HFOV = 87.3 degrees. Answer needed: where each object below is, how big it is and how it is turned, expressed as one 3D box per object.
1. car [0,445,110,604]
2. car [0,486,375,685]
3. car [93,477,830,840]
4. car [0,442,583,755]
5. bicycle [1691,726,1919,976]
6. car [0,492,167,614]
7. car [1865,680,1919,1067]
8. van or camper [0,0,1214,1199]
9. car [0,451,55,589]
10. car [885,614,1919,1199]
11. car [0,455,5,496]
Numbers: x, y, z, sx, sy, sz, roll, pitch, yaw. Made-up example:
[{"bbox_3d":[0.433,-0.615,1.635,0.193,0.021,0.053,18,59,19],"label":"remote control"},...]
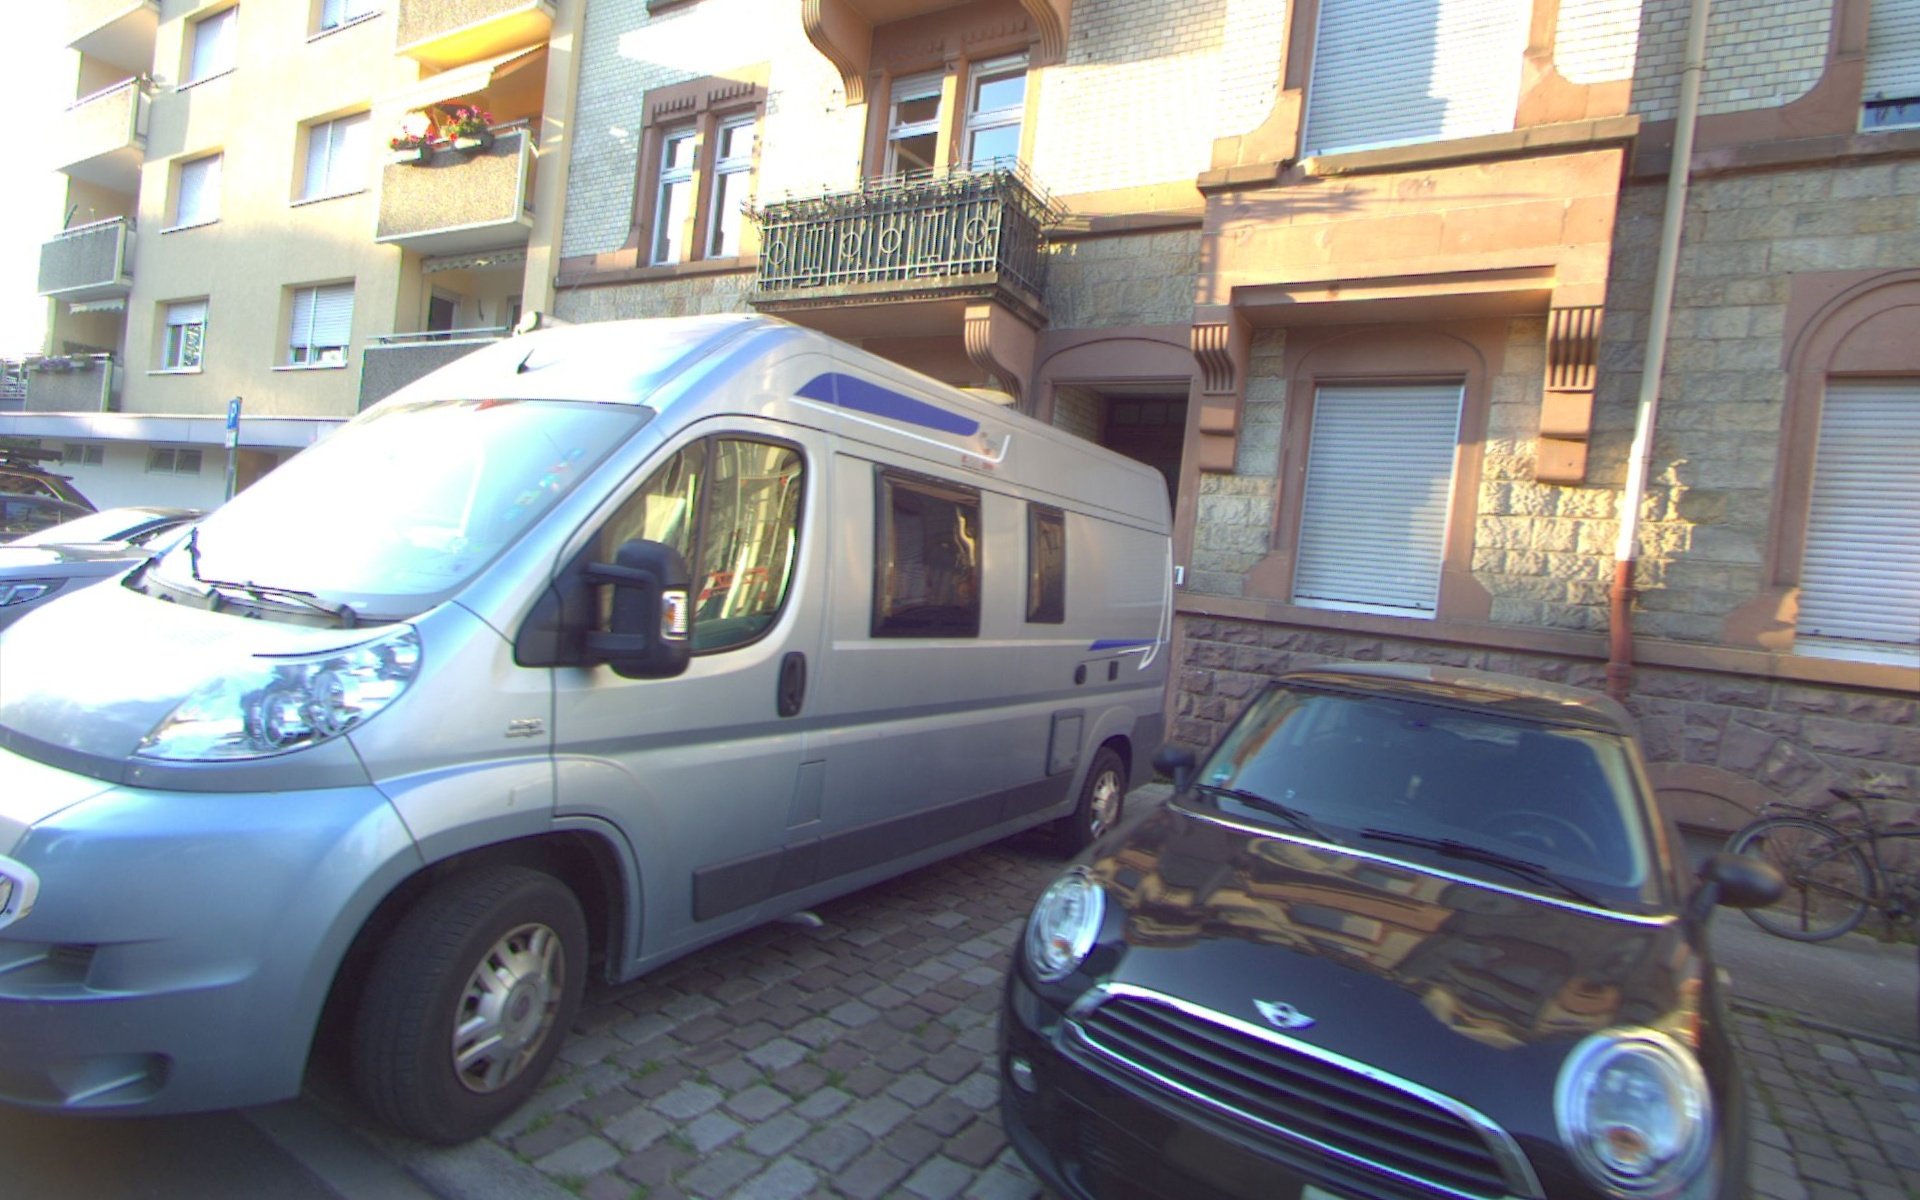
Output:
[{"bbox_3d":[-15.121,-1.316,13.831,1.966,2.171,4.715,7,-1,30],"label":"car"},{"bbox_3d":[-7.608,-0.172,8.725,1.803,1.473,3.991,7,2,27],"label":"car"},{"bbox_3d":[-2.927,0.327,7.099,1.741,1.616,4.443,7,1,25],"label":"car"},{"bbox_3d":[-5.309,-0.011,7.736,1.741,1.750,4.443,7,1,25],"label":"car"},{"bbox_3d":[5.466,1.471,5.650,1.999,1.182,0.632,7,0,26],"label":"bicycle"},{"bbox_3d":[-12.869,-0.705,12.606,1.690,1.444,4.240,7,1,31],"label":"car"},{"bbox_3d":[4.177,1.187,2.321,1.984,1.536,3.991,7,2,27],"label":"car"},{"bbox_3d":[-0.830,0.022,4.723,2.074,2.802,5.940,7,-1,30],"label":"van or camper"},{"bbox_3d":[-17.283,-1.571,15.301,1.966,2.171,4.715,7,-1,30],"label":"car"},{"bbox_3d":[1.655,0.913,3.539,1.758,1.505,3.935,5,1,33],"label":"car"},{"bbox_3d":[-19.305,-1.814,16.547,1.966,2.171,4.715,7,-1,30],"label":"car"}]
